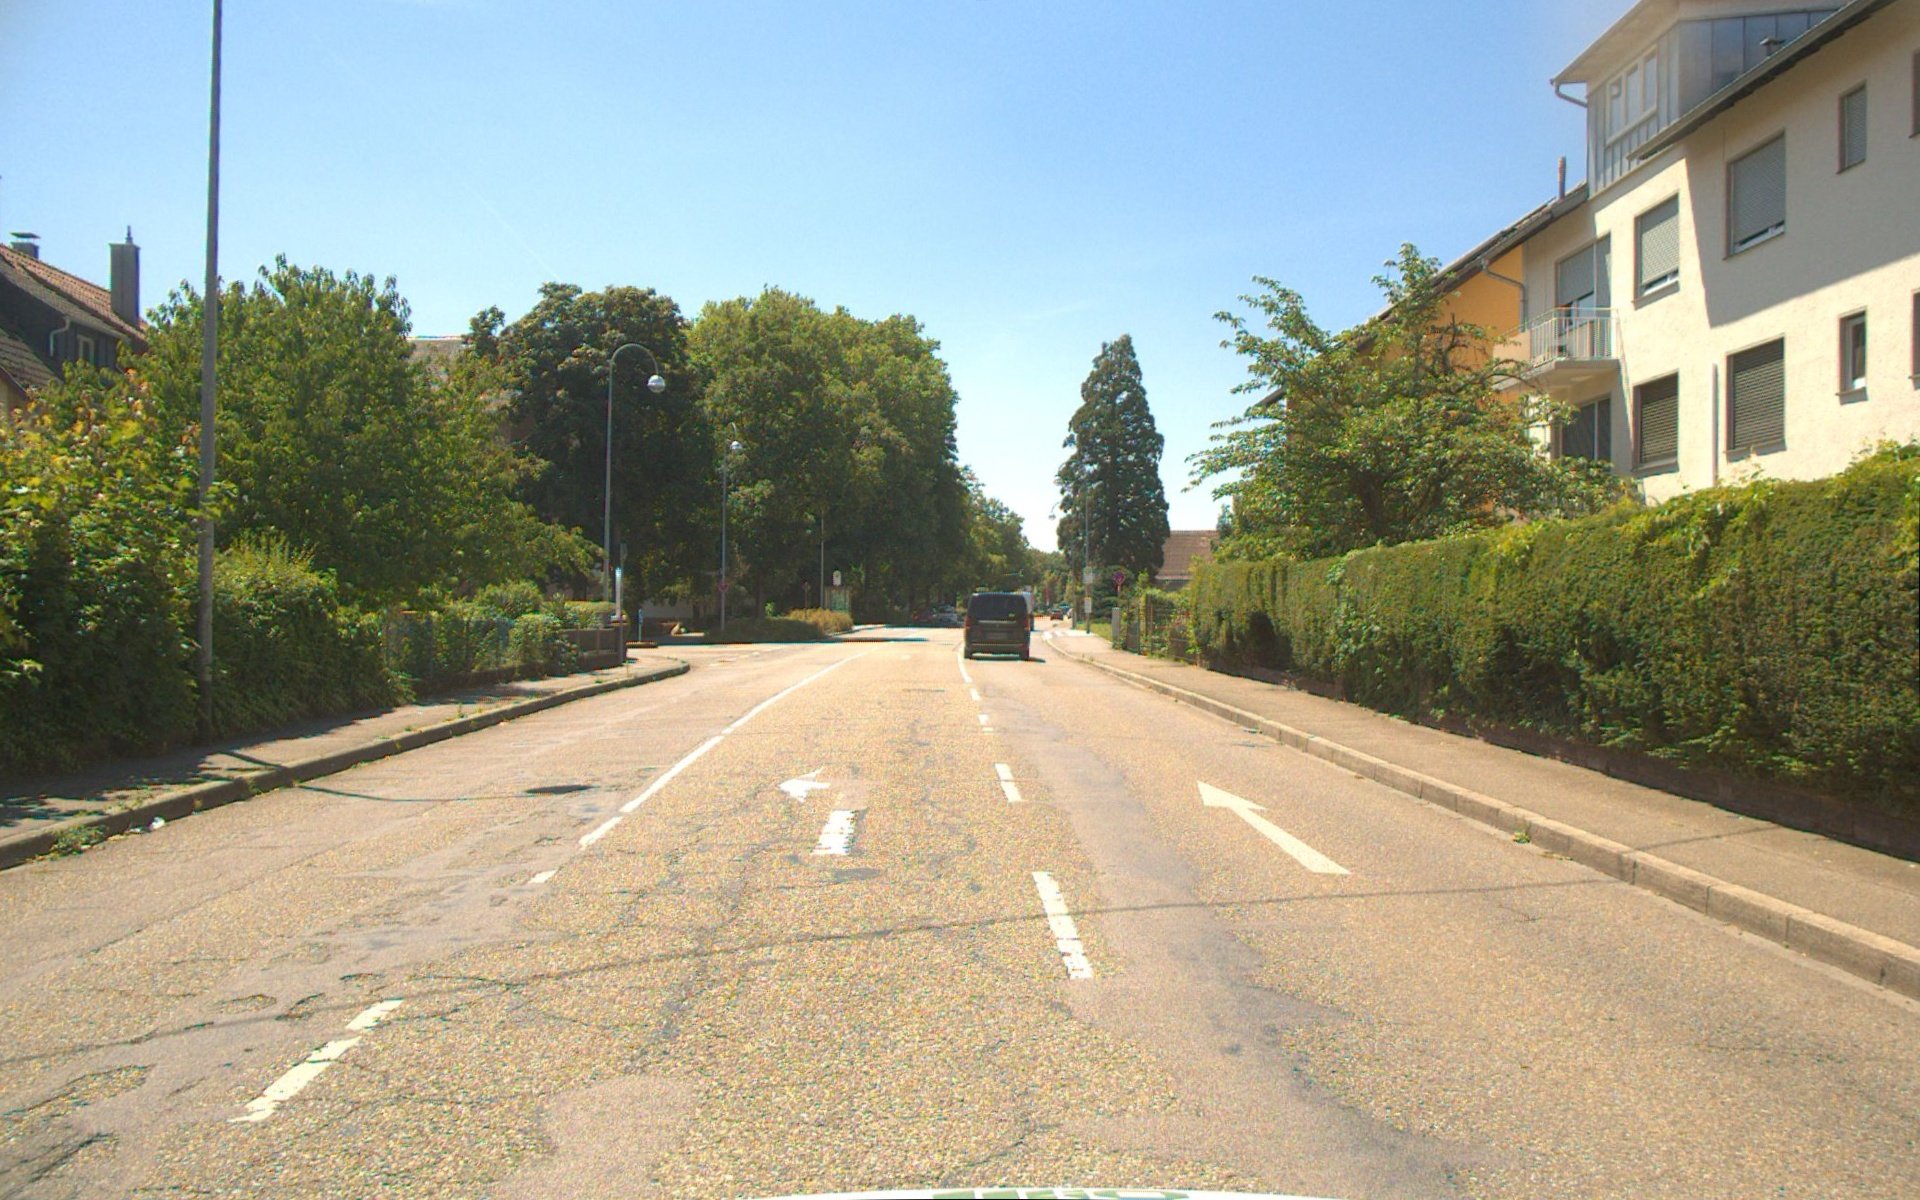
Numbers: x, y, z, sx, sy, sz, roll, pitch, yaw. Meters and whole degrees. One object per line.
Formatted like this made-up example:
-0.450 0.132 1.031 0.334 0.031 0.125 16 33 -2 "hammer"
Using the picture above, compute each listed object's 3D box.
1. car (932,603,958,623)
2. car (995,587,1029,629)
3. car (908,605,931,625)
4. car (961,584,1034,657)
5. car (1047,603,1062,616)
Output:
-1.204 1.052 135.113 1.655 1.485 3.642 2 0 7 "car"
3.622 0.517 114.827 2.075 2.724 5.665 2 0 4 "car"
-3.135 1.163 127.892 1.518 1.476 3.691 2 0 2 "car"
1.082 0.551 47.137 1.952 1.926 4.001 2 0 2 "car"
12.961 1.285 226.423 1.819 1.671 4.001 2 0 1 "car"
